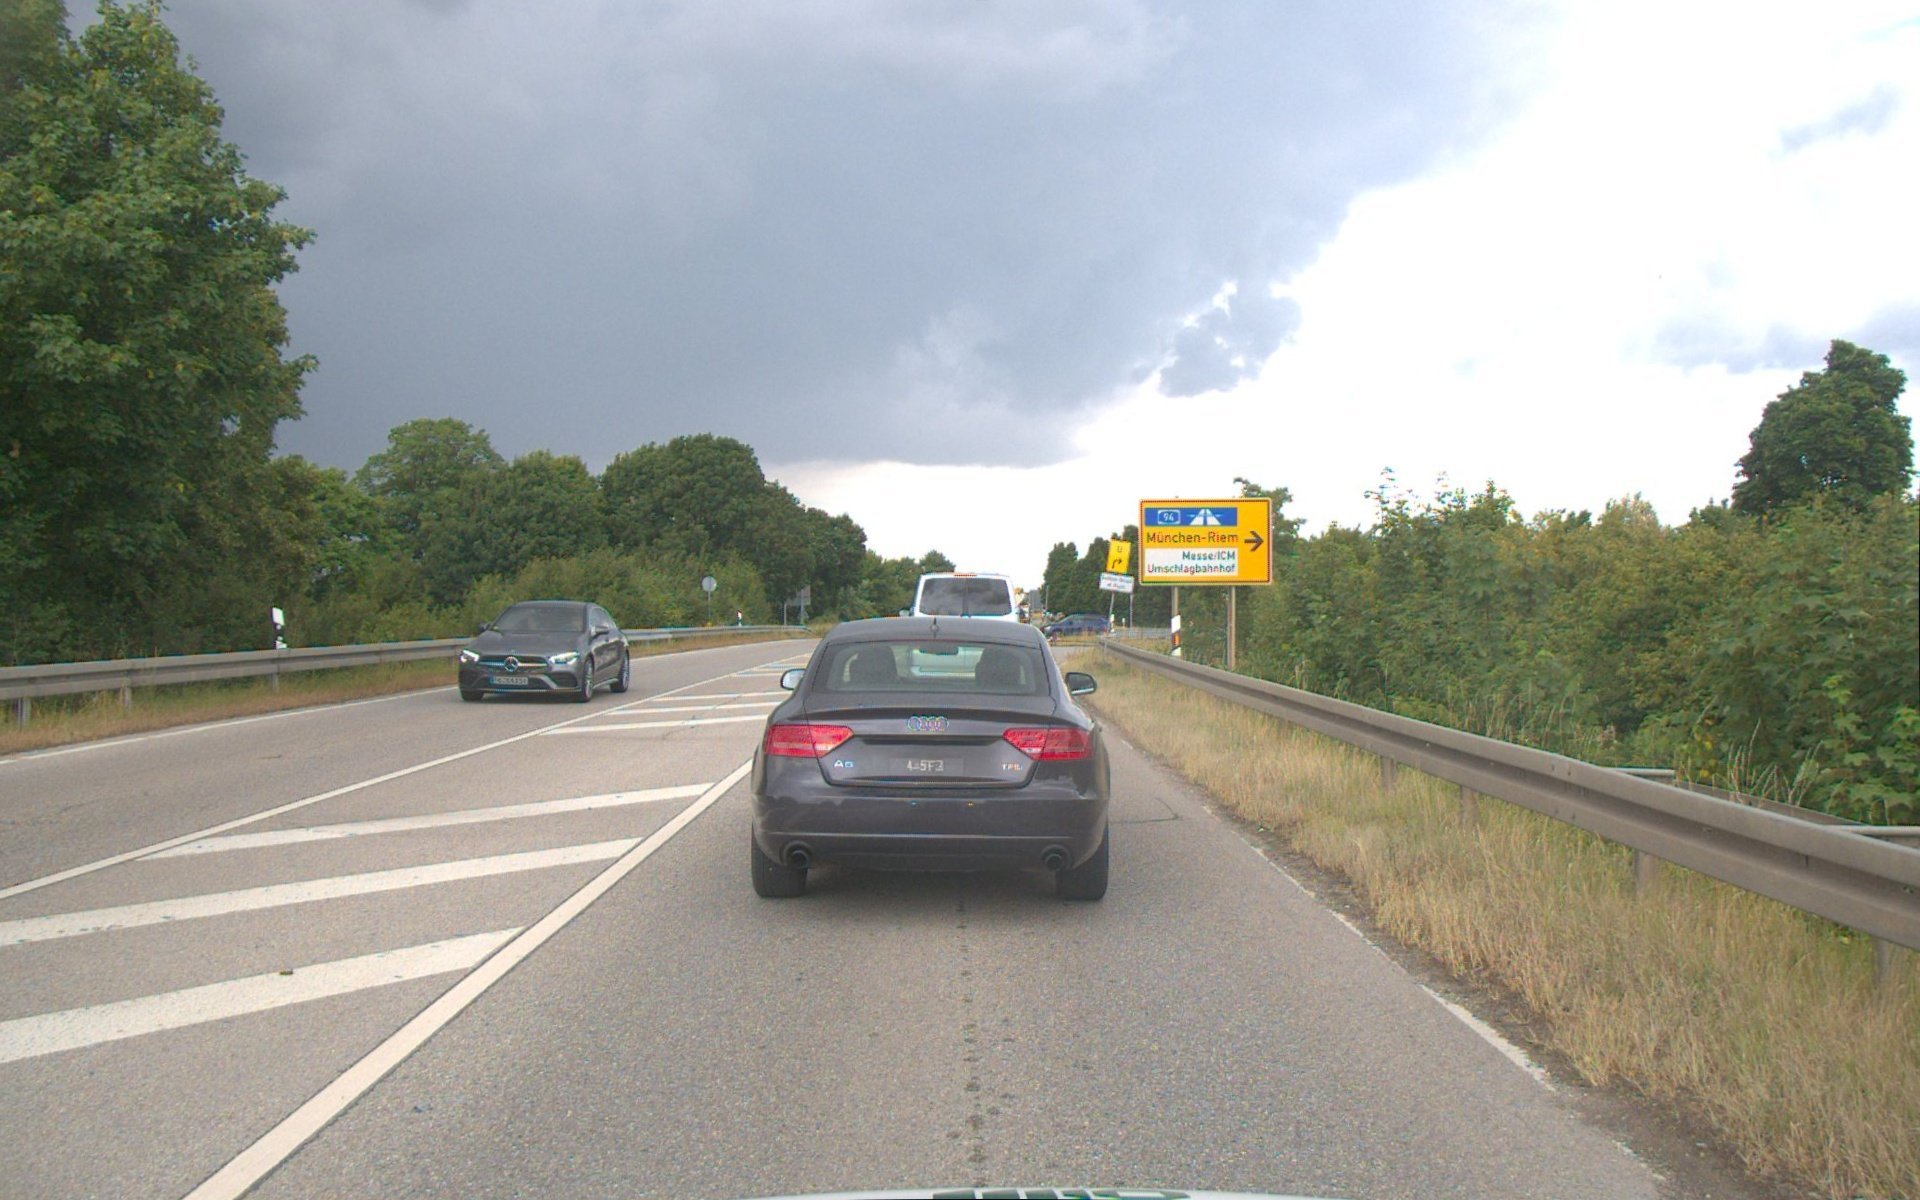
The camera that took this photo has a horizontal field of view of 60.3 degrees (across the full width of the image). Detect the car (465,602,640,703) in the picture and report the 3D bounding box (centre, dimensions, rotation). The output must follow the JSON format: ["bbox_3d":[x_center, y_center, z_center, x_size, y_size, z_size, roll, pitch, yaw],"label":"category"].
[{"bbox_3d":[-6.090,0.728,25.218,1.589,1.403,4.511,0,0,-1],"label":"car"}]

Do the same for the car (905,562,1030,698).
[{"bbox_3d":[0.098,0.461,27.281,1.871,2.049,3.999,1,0,-1],"label":"car"}]

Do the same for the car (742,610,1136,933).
[{"bbox_3d":[-0.114,0.775,9.019,1.743,1.423,3.335,1,-1,-1],"label":"car"}]
